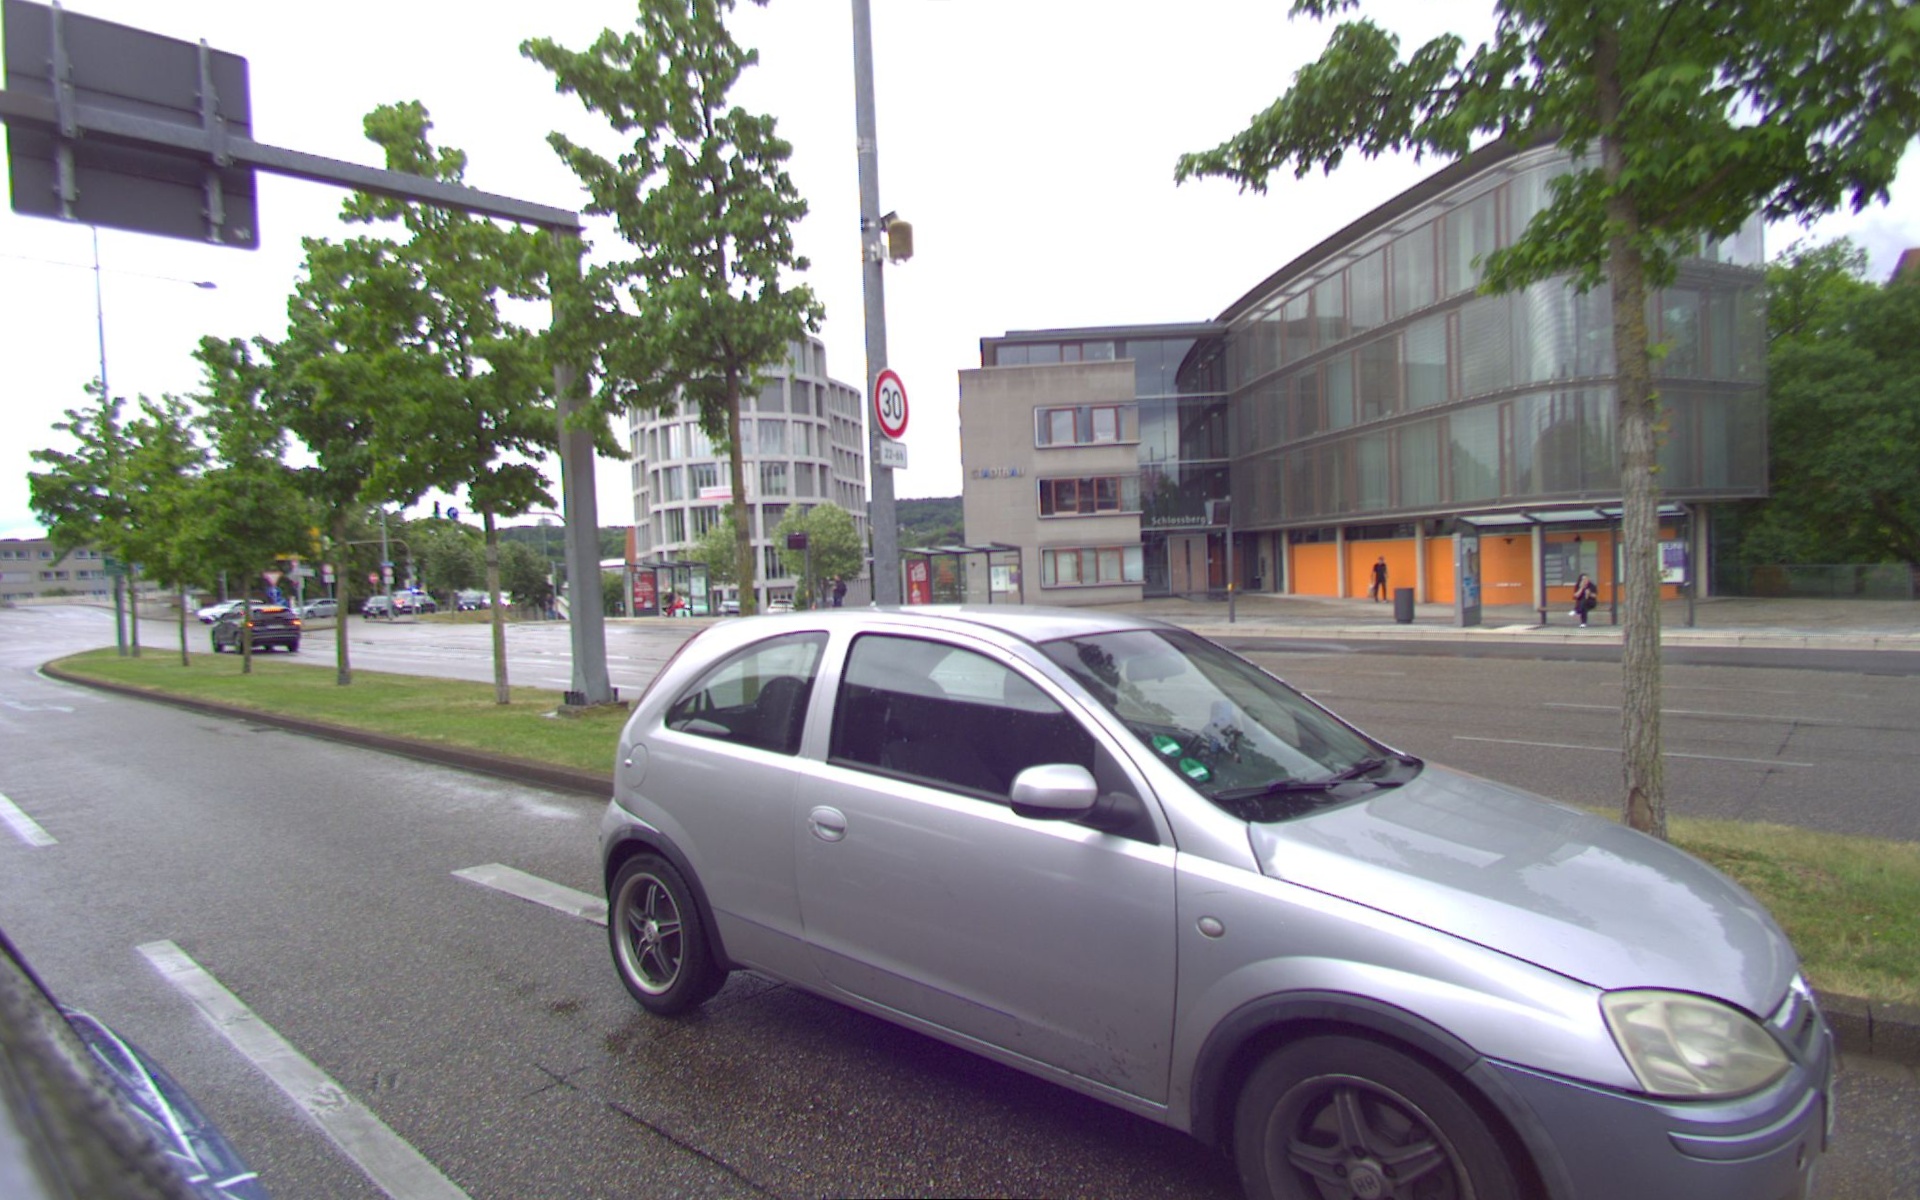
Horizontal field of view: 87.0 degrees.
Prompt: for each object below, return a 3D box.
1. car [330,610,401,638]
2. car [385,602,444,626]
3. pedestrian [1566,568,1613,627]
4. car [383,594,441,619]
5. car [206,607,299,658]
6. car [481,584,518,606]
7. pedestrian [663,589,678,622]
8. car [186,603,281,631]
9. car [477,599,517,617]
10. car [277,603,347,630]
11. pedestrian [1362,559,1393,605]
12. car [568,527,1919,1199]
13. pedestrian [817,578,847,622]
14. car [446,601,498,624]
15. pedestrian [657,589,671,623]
[{"bbox_3d":[-41.073,1.608,70.108,2.164,1.725,4.919,-1,0,-3],"label":"car"},{"bbox_3d":[-42.626,1.058,79.209,2.164,1.725,4.919,-1,0,-3],"label":"car"},{"bbox_3d":[14.608,-0.051,23.484,0.790,1.334,0.793,-1,0,42],"label":"pedestrian"},{"bbox_3d":[-46.008,0.505,85.092,2.276,2.029,5.038,-1,0,-3],"label":"car"},{"bbox_3d":[-25.212,1.131,35.994,4.600,1.652,1.802,-1,1,43],"label":"car"},{"bbox_3d":[-43.491,-0.455,95.682,1.969,2.029,4.005,-2,0,-6],"label":"car"},{"bbox_3d":[-14.556,0.292,50.908,0.535,1.647,0.514,-1,0,41],"label":"pedestrian"},{"bbox_3d":[-48.886,1.123,68.234,2.179,1.725,4.885,-1,0,19],"label":"car"},{"bbox_3d":[-47.470,0.791,103.972,2.163,1.725,4.922,-1,0,-5],"label":"car"},{"bbox_3d":[-47.242,1.154,73.825,1.982,1.807,3.979,-1,0,16],"label":"car"},{"bbox_3d":[15.341,-0.667,37.189,0.697,1.666,0.852,-1,0,-6],"label":"pedestrian"},{"bbox_3d":[0.476,0.643,3.205,3.733,1.469,1.607,-1,0,40],"label":"car"},{"bbox_3d":[-5.241,0.010,41.452,0.964,1.773,0.783,-1,0,12],"label":"pedestrian"},{"bbox_3d":[-40.921,1.015,85.026,2.164,1.725,4.920,-1,0,-3],"label":"car"},{"bbox_3d":[-14.727,0.297,50.340,0.501,1.647,0.497,-1,0,41],"label":"pedestrian"}]
